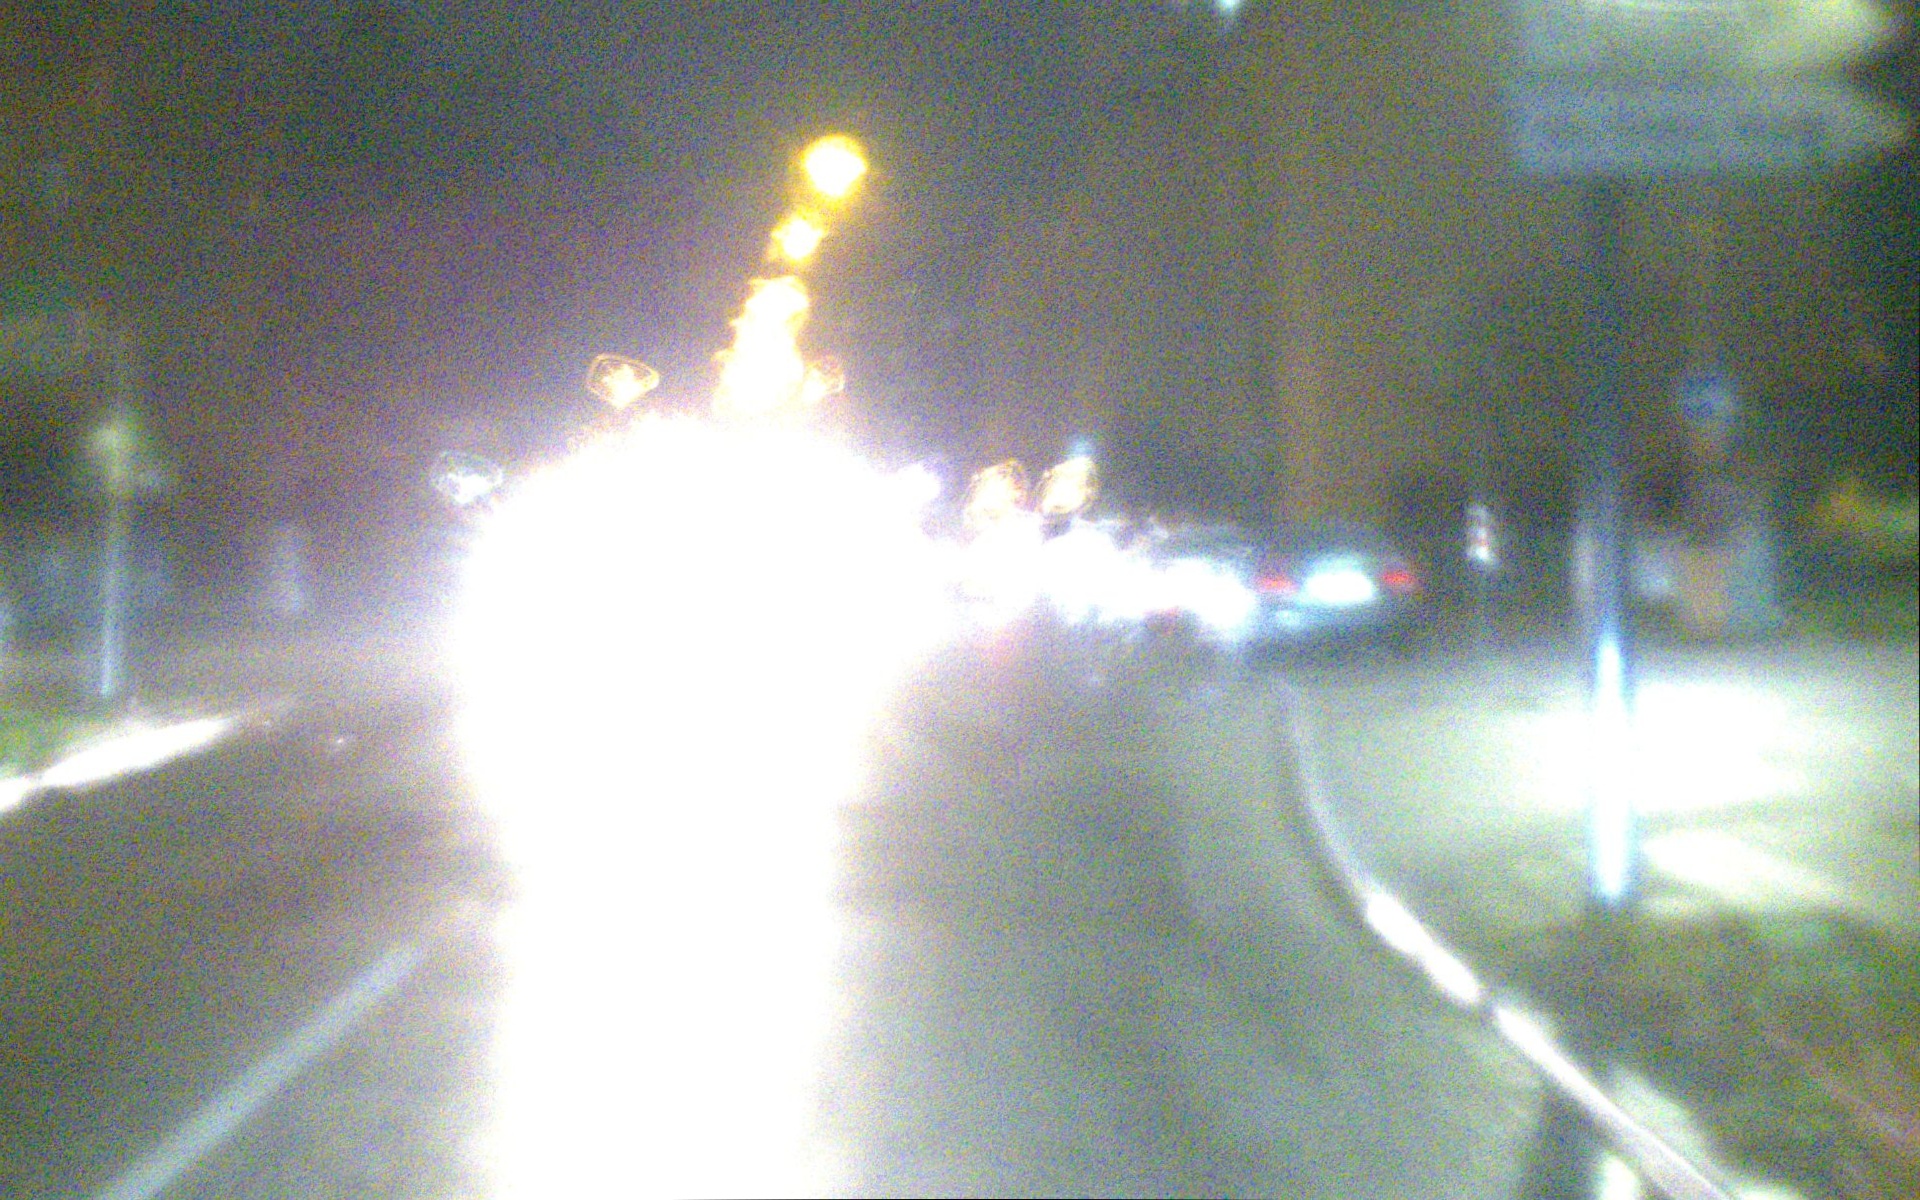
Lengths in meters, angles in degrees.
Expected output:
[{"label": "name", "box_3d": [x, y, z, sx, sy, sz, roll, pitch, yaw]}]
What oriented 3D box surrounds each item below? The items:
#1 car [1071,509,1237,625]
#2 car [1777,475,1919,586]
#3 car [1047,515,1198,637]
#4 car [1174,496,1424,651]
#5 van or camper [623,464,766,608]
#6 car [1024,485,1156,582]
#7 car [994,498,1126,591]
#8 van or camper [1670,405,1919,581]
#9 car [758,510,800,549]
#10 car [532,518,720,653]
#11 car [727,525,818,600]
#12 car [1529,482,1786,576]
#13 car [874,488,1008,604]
[{"label": "car", "box_3d": [2.618, -0.475, 47.331, 1.713, 1.483, 4.437, -2, 1, -4]}, {"label": "car", "box_3d": [12.521, -0.981, 47.533, 1.562, 1.464, 3.408, -1, 2, -1]}, {"label": "car", "box_3d": [2.473, -0.412, 53.292, 1.713, 1.702, 4.188, -3, 2, -5]}, {"label": "car", "box_3d": [3.484, -0.321, 36.220, 1.789, 1.444, 4.791, -3, 2, -4]}, {"label": "van or camper", "box_3d": [-4.068, -1.003, 53.384, 1.870, 2.096, 4.943, -1, 1, -1]}, {"label": "car", "box_3d": [2.206, -1.168, 59.213, 1.754, 1.523, 4.154, -3, 2, -4]}, {"label": "car", "box_3d": [1.833, -1.066, 64.424, 1.880, 1.567, 4.529, -3, 2, -5]}, {"label": "van or camper", "box_3d": [13.375, -1.608, 51.345, 5.062, 2.518, 2.172, -1, 2, 0]}, {"label": "car", "box_3d": [-8.522, -3.328, 161.363, 1.812, 1.704, 3.805, -2, 2, -4]}, {"label": "car", "box_3d": [-3.837, -0.209, 40.048, 1.745, 1.428, 4.000, -2, 1, 0]}, {"label": "car", "box_3d": [-3.889, -0.797, 71.453, 1.796, 1.456, 4.579, 1, 1, -3]}, {"label": "car", "box_3d": [11.920, -1.221, 58.892, 3.986, 1.515, 1.686, -1, 2, -3]}, {"label": "car", "box_3d": [-0.339, -0.883, 54.399, 1.993, 1.678, 4.001, 0, 3, -2]}]
